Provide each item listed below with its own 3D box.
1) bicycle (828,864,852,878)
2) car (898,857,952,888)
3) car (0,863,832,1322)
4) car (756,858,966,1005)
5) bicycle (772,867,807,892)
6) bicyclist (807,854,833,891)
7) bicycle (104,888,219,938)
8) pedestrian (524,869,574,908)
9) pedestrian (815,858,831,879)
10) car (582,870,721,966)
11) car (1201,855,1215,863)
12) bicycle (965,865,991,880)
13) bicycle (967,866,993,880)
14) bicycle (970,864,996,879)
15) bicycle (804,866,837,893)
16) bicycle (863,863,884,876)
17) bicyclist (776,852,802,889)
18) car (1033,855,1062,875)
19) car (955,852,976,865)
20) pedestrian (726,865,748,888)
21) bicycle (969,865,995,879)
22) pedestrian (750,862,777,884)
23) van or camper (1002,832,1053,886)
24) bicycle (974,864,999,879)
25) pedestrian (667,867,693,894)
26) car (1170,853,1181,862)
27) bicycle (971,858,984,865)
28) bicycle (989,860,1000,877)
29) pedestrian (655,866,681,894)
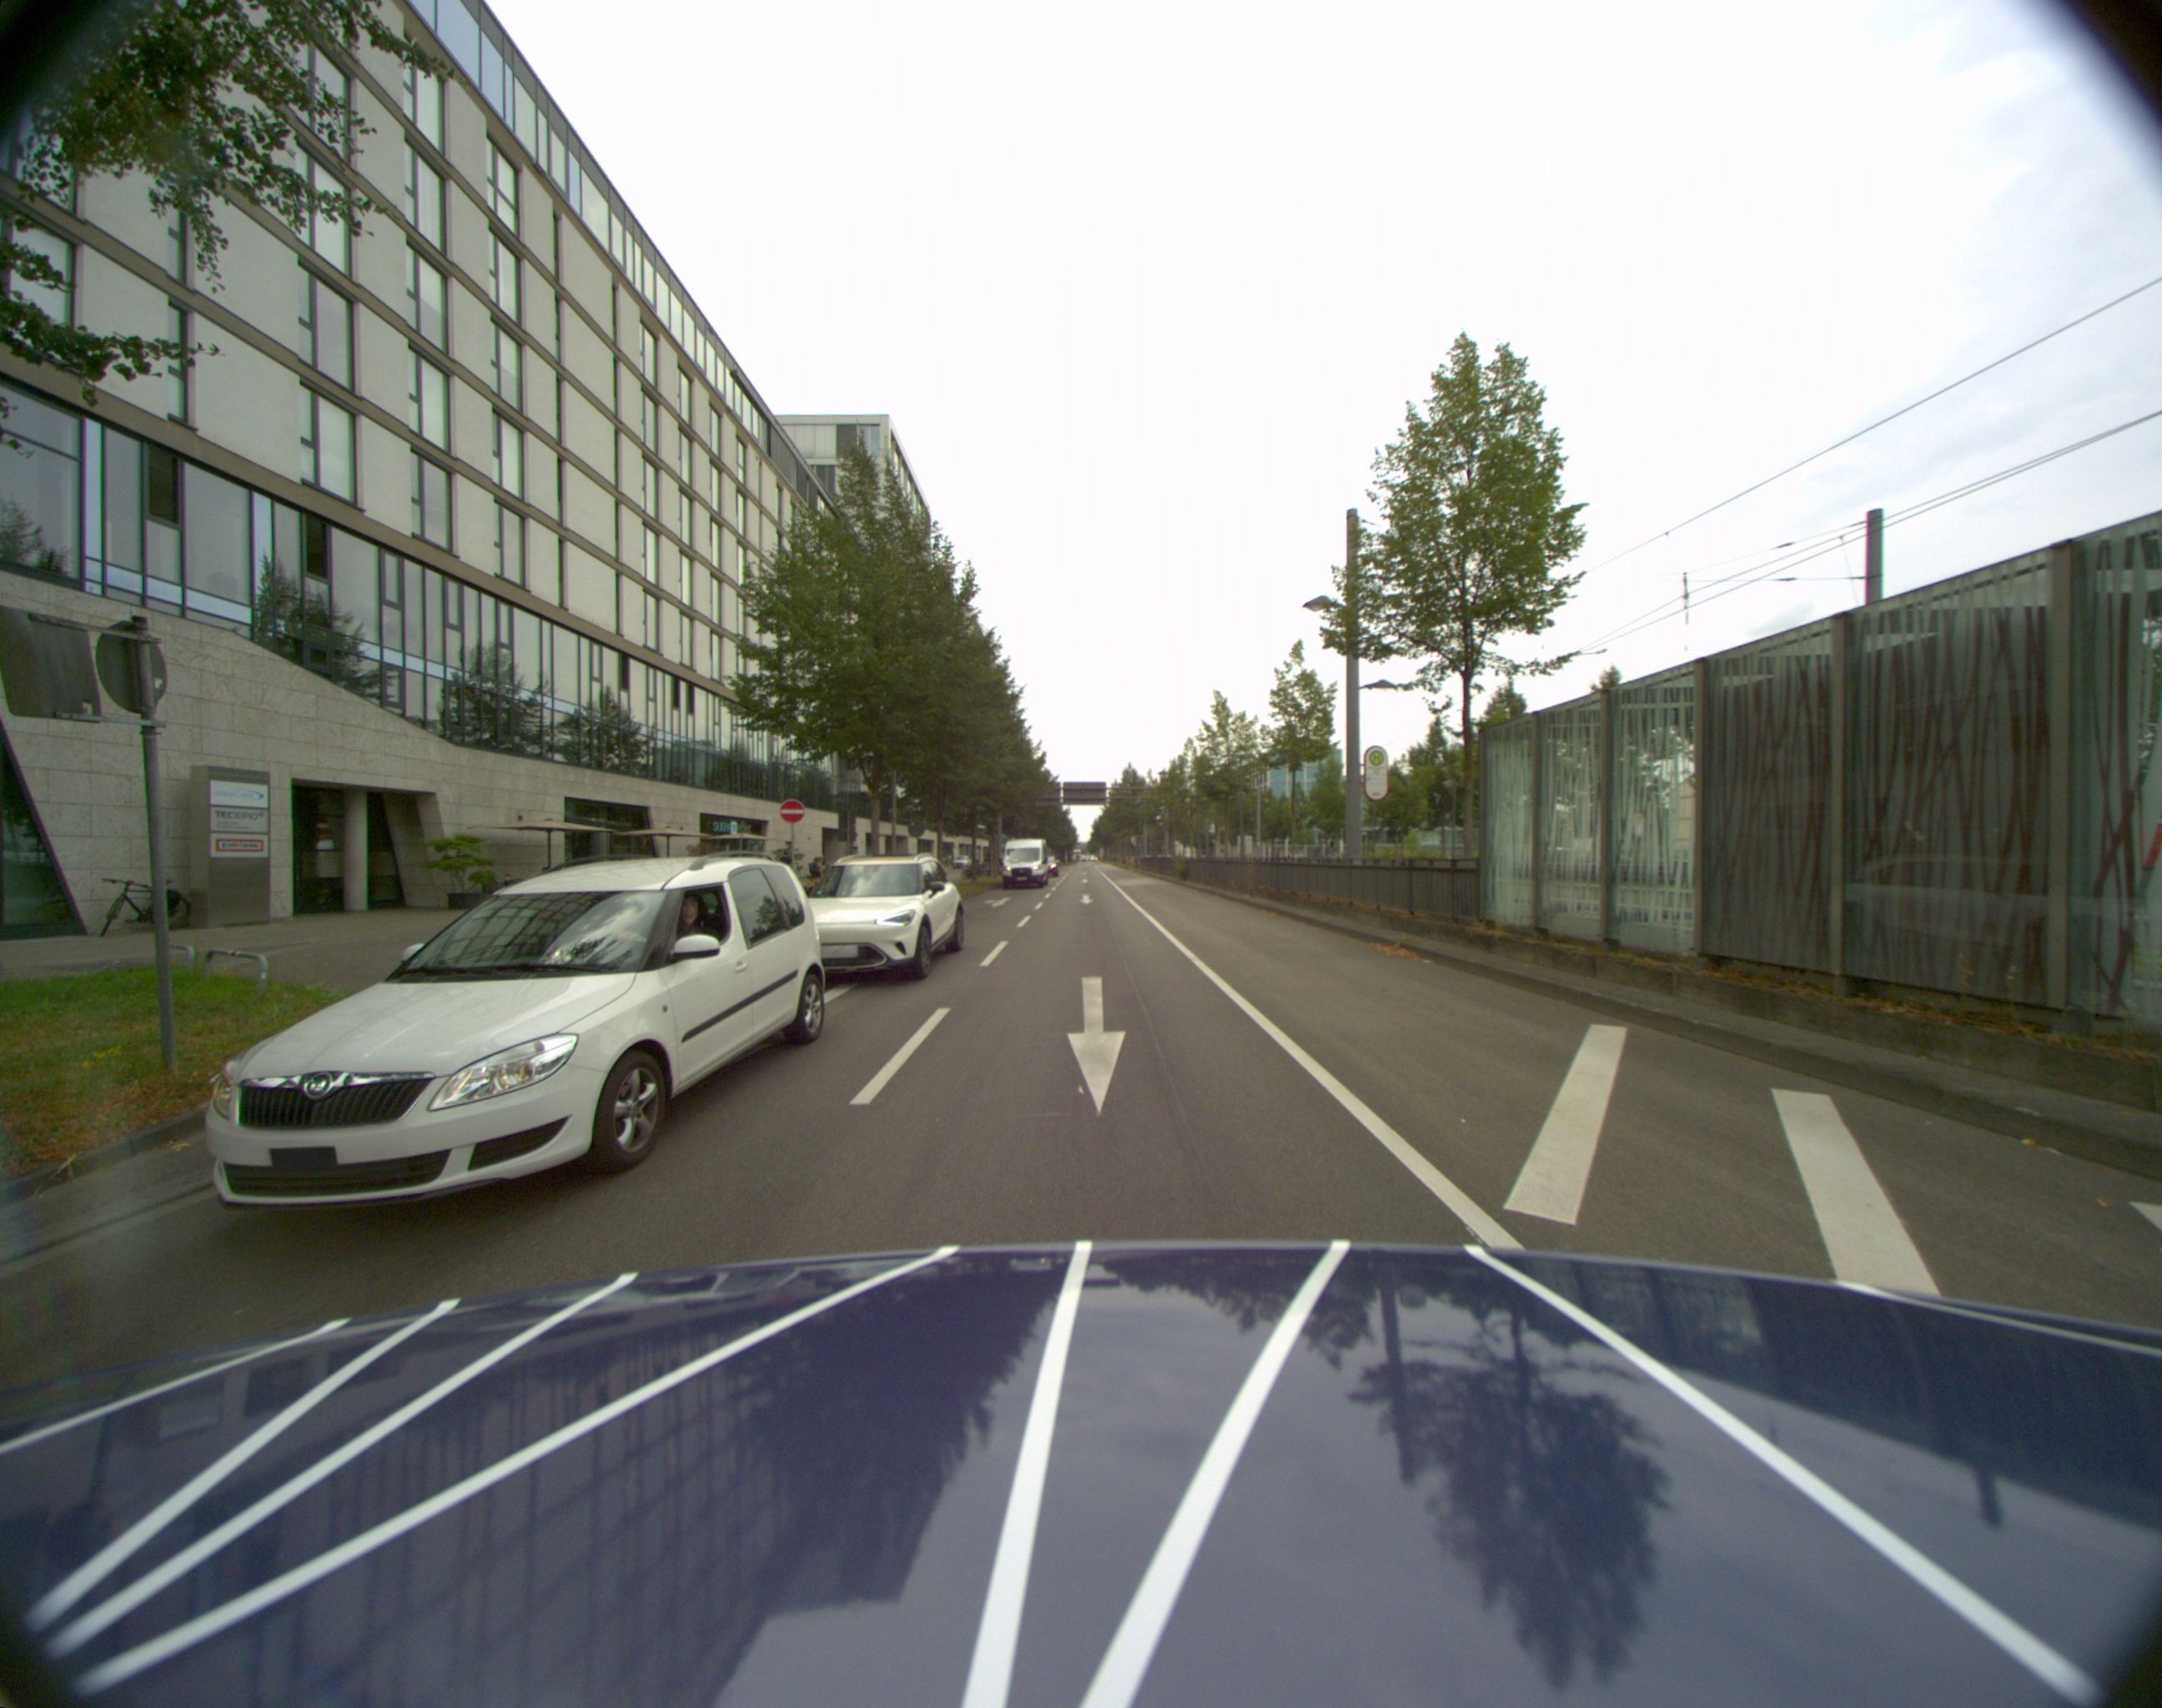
[{"bbox_3d":[-17.809,1.236,56.155,1.605,1.020,0.609,0,0,-27],"label":"bicycle"},{"bbox_3d":[-8.238,0.960,40.564,1.943,1.543,4.593,-1,0,0],"label":"car"},{"bbox_3d":[-3.165,0.911,4.819,1.783,1.647,4.023,0,0,1],"label":"car"},{"bbox_3d":[-2.875,0.911,10.903,1.783,1.647,4.023,-2,0,0],"label":"car"},{"bbox_3d":[-12.836,1.128,33.521,0.675,1.036,2.008,0,0,3],"label":"bicycle"},{"bbox_3d":[-11.342,0.807,33.058,0.726,1.573,0.990,1,1,3],"label":"bicyclist"},{"bbox_3d":[-18.783,1.182,15.571,0.519,0.905,1.493,0,0,1],"label":"bicycle"},{"bbox_3d":[-17.187,1.090,24.559,0.899,1.221,0.950,0,0,5],"label":"pedestrian"},{"bbox_3d":[-17.739,0.982,52.246,0.758,1.398,0.721,0,0,8],"label":"pedestrian"},{"bbox_3d":[-8.535,1.091,14.856,1.951,1.467,4.858,-1,0,-34],"label":"car"},{"bbox_3d":[24.292,0.955,145.488,1.832,1.646,4.691,0,0,-2],"label":"car"},{"bbox_3d":[-7.724,1.358,56.934,1.865,0.989,0.574,-4,0,-3],"label":"bicycle"},{"bbox_3d":[-7.729,1.421,58.350,1.865,0.946,0.652,-4,0,-3],"label":"bicycle"},{"bbox_3d":[-7.679,1.358,59.783,1.935,1.059,0.705,-4,0,-3],"label":"bicycle"},{"bbox_3d":[-11.353,1.099,33.194,0.675,1.136,2.007,1,-1,2],"label":"bicycle"},{"bbox_3d":[-17.248,1.291,63.246,1.602,1.020,0.533,0,0,-3],"label":"bicycle"},{"bbox_3d":[-12.842,0.706,33.452,0.726,1.573,0.990,1,1,2],"label":"bicyclist"},{"bbox_3d":[-2.570,0.825,59.163,1.973,1.528,4.139,0,0,1],"label":"car"},{"bbox_3d":[-14.339,0.571,94.805,1.862,1.579,4.240,2,0,0],"label":"car"},{"bbox_3d":[-18.016,1.180,39.768,0.719,1.185,0.760,0,0,22],"label":"pedestrian"},{"bbox_3d":[-7.692,1.414,59.091,1.865,0.946,0.612,-4,0,-3],"label":"bicycle"},{"bbox_3d":[-17.221,1.022,41.231,0.773,1.185,1.107,0,0,15],"label":"pedestrian"},{"bbox_3d":[-2.677,0.260,39.427,2.184,2.493,6.339,-2,0,0],"label":"van or camper"},{"bbox_3d":[-7.640,1.378,61.274,1.936,1.059,0.543,-4,0,-8],"label":"bicycle"},{"bbox_3d":[-18.121,1.189,34.351,0.720,1.185,0.759,0,0,2],"label":"pedestrian"},{"bbox_3d":[22.937,0.860,183.784,1.998,1.933,5.096,0,0,0],"label":"car"},{"bbox_3d":[-17.811,1.324,130.867,2.238,1.170,0.975,-1,0,-7],"label":"bicycle"},{"bbox_3d":[-6.173,1.030,54.176,0.712,1.109,2.202,-4,0,-7],"label":"bicycle"},{"bbox_3d":[-18.138,1.146,33.374,0.720,1.185,0.759,0,0,0],"label":"pedestrian"}]
